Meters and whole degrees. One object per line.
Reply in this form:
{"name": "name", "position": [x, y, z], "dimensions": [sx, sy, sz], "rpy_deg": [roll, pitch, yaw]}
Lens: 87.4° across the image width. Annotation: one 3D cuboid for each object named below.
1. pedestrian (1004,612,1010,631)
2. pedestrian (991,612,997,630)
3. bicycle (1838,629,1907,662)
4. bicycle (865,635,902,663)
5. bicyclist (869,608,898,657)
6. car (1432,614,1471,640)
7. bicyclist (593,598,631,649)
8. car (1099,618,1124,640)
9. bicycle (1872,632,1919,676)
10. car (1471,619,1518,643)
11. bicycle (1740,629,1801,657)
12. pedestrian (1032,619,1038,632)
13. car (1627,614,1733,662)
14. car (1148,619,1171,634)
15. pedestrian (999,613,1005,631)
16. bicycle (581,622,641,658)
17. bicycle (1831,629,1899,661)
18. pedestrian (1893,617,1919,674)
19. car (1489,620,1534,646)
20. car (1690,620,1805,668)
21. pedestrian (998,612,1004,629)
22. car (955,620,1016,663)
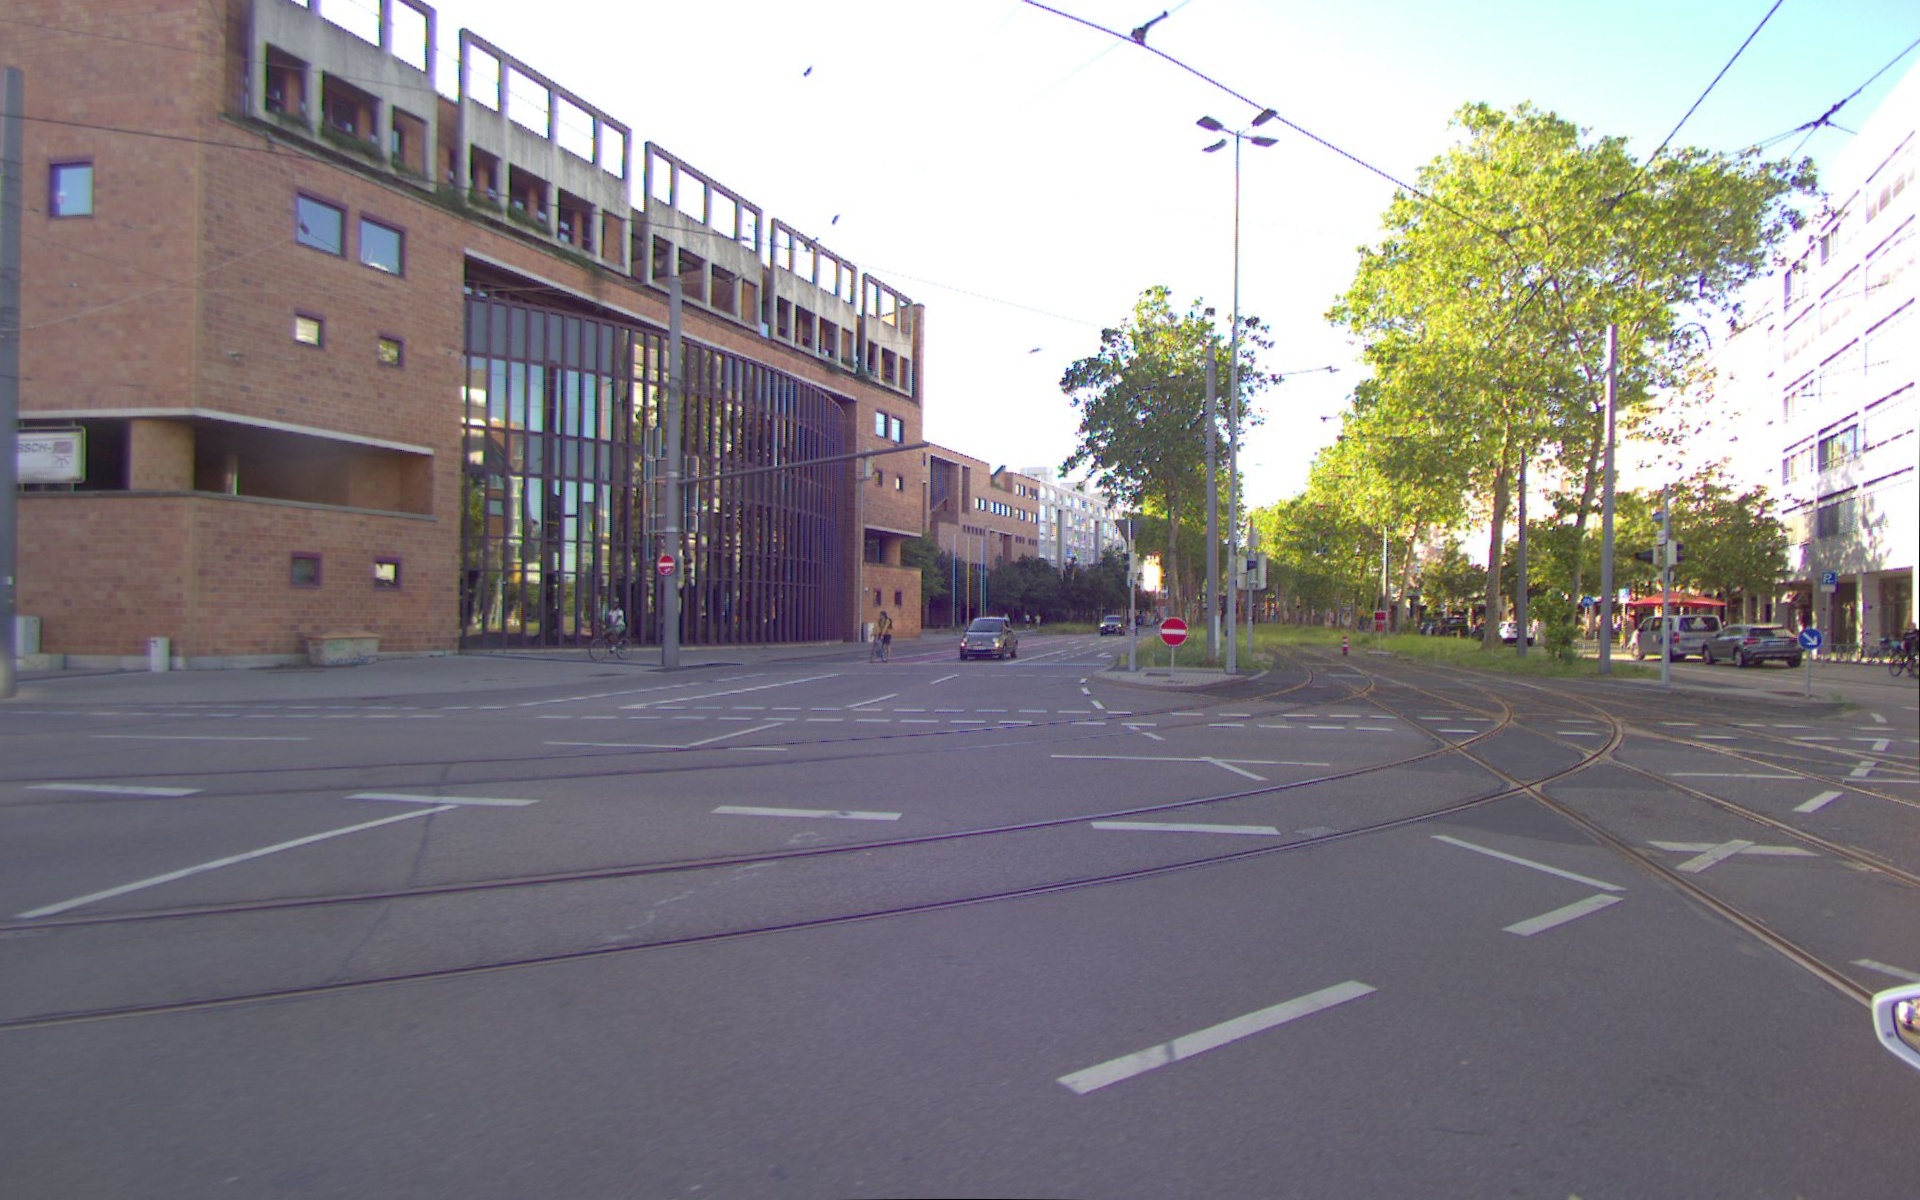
{"name": "pedestrian", "position": [3.879, 1.800, 82.516], "dimensions": [0.359, 1.543, 0.423], "rpy_deg": [0, 0, 23]}
{"name": "pedestrian", "position": [2.775, 1.673, 81.243], "dimensions": [0.358, 1.439, 0.332], "rpy_deg": [0, 0, 23]}
{"name": "bicycle", "position": [33.303, 1.652, 36.695], "dimensions": [1.803, 1.167, 0.470], "rpy_deg": [-1, 0, 20]}
{"name": "bicycle", "position": [-2.590, 1.654, 34.238], "dimensions": [0.527, 0.925, 1.567], "rpy_deg": [1, -1, 27]}
{"name": "bicyclist", "position": [-2.605, 1.110, 34.207], "dimensions": [0.612, 1.643, 0.814], "rpy_deg": [1, 0, 26]}
{"name": "car", "position": [40.315, 2.191, 82.507], "dimensions": [1.995, 2.003, 4.417], "rpy_deg": [0, -1, 14]}
{"name": "bicyclist", "position": [-11.253, 0.766, 32.474], "dimensions": [0.674, 1.611, 0.926], "rpy_deg": [1, 0, 30]}
{"name": "car", "position": [12.335, 2.318, 81.639], "dimensions": [1.791, 1.583, 4.344], "rpy_deg": [1, 1, 11]}
{"name": "bicycle", "position": [28.030, 1.592, 29.830], "dimensions": [0.600, 1.179, 1.848], "rpy_deg": [-3, 0, 16]}
{"name": "car", "position": [37.743, 2.158, 71.060], "dimensions": [1.953, 1.650, 4.088], "rpy_deg": [0, -1, 14]}
{"name": "bicycle", "position": [33.666, 1.782, 41.733], "dimensions": [1.835, 1.116, 0.741], "rpy_deg": [1, 0, 11]}
{"name": "pedestrian", "position": [7.608, 2.571, 101.916], "dimensions": [0.494, 1.308, 0.521], "rpy_deg": [0, -1, 19]}
{"name": "car", "position": [29.920, 1.546, 41.927], "dimensions": [1.890, 1.868, 4.927], "rpy_deg": [-2, -1, 14]}
{"name": "car", "position": [22.480, 2.946, 113.034], "dimensions": [1.960, 1.519, 3.894], "rpy_deg": [1, 1, 19]}
{"name": "pedestrian", "position": [3.455, 1.825, 82.639], "dimensions": [0.313, 1.476, 0.341], "rpy_deg": [0, 0, 21]}
{"name": "bicycle", "position": [-11.252, 1.274, 32.465], "dimensions": [0.605, 1.094, 1.917], "rpy_deg": [1, -1, 29]}
{"name": "bicycle", "position": [33.463, 1.650, 37.146], "dimensions": [1.803, 1.167, 0.470], "rpy_deg": [-1, 0, 20]}
{"name": "pedestrian", "position": [28.240, 1.339, 29.705], "dimensions": [0.594, 1.632, 0.838], "rpy_deg": [-2, 0, 16]}
{"name": "car", "position": [35.858, 2.122, 65.436], "dimensions": [1.828, 1.660, 3.869], "rpy_deg": [0, -1, 17]}
{"name": "car", "position": [28.816, 1.574, 36.916], "dimensions": [1.828, 1.593, 4.416], "rpy_deg": [-2, -1, 17]}
{"name": "pedestrian", "position": [3.312, 1.652, 81.028], "dimensions": [0.384, 1.435, 0.458], "rpy_deg": [0, 0, 22]}
{"name": "car", "position": [0.982, 1.477, 36.386], "dimensions": [1.622, 1.346, 3.624], "rpy_deg": [1, 1, 11]}
